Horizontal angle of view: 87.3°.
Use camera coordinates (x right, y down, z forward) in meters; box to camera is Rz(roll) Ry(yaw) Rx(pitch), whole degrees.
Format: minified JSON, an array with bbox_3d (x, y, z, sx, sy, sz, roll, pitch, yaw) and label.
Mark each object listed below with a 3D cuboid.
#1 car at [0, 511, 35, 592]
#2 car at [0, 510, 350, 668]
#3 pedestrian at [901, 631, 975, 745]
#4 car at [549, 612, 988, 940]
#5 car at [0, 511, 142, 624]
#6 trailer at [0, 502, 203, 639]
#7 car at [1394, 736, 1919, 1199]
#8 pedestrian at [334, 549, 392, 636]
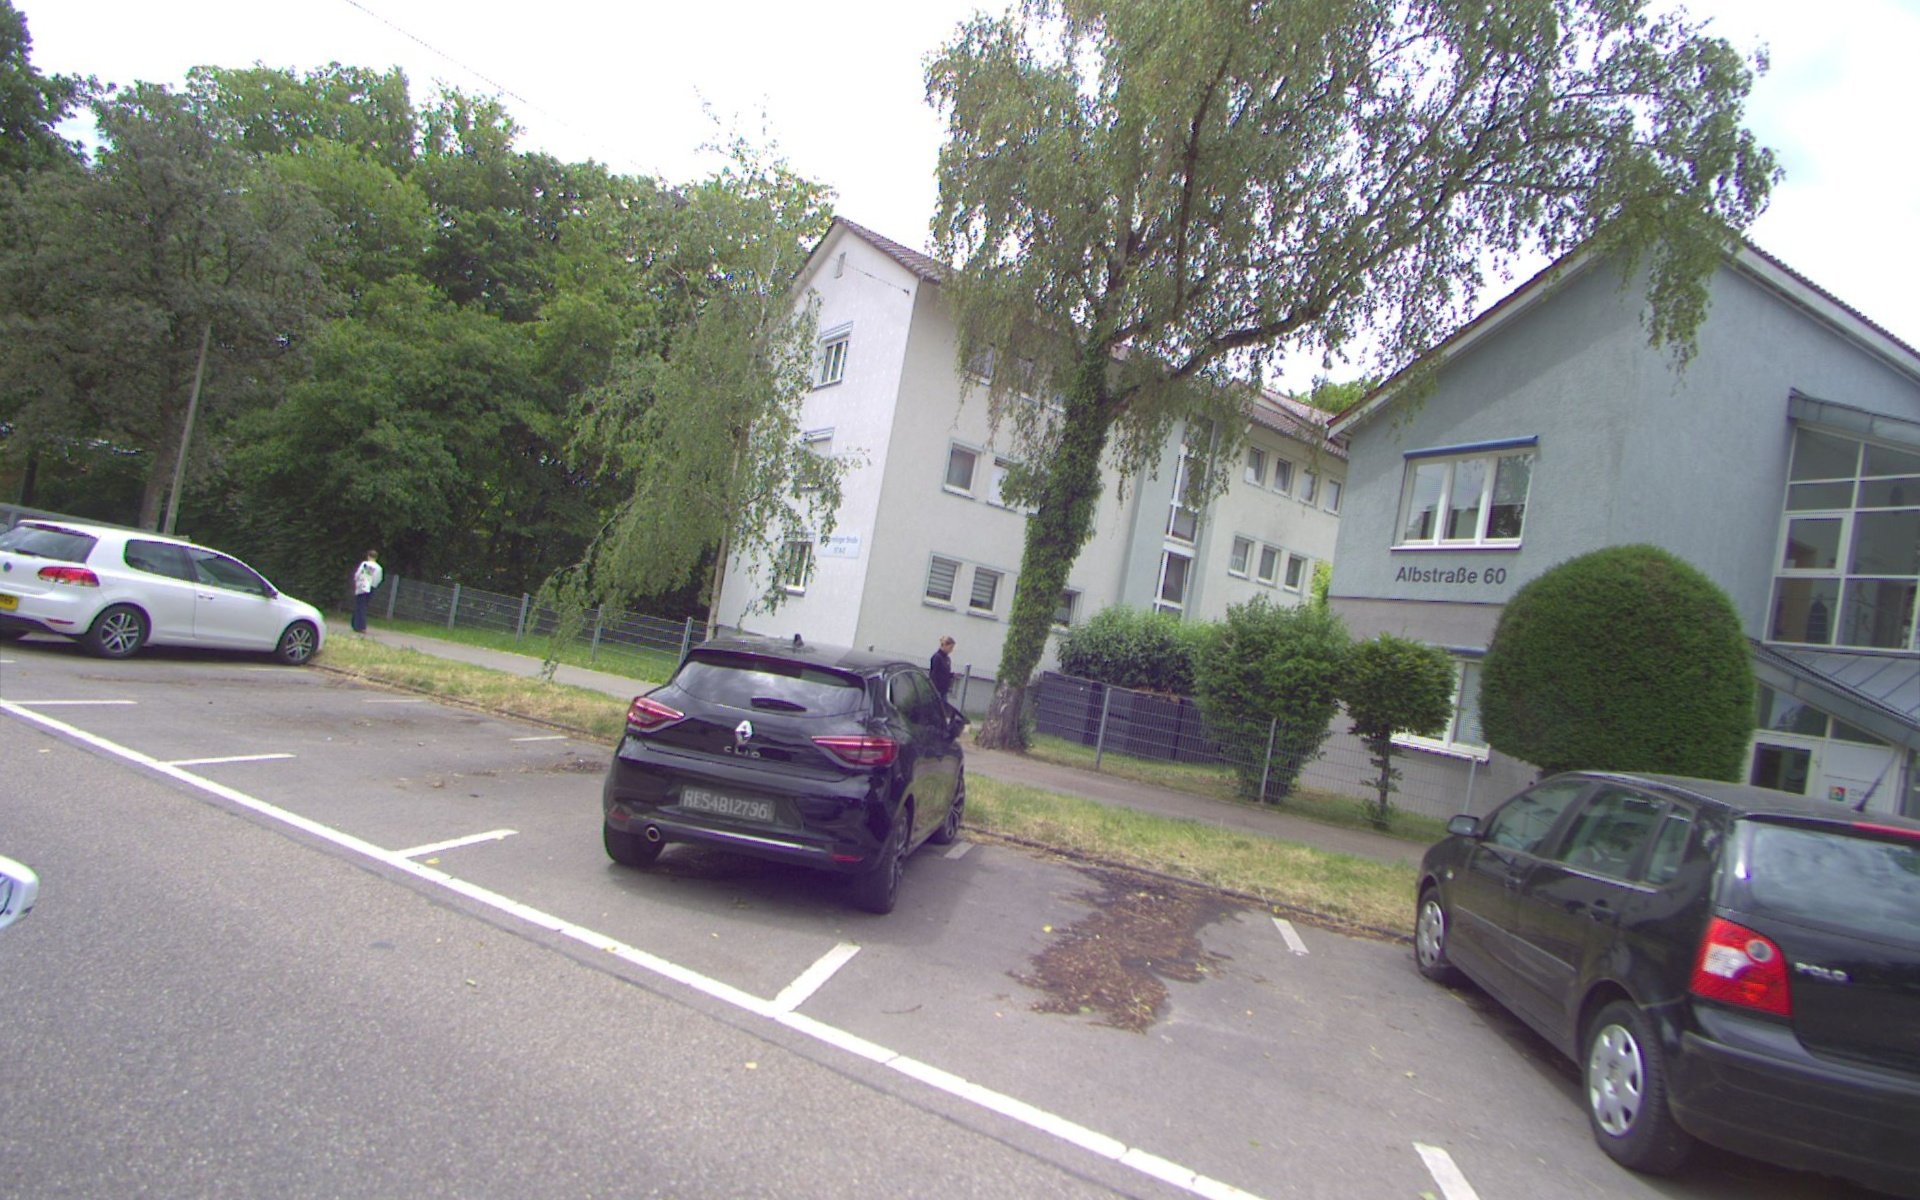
[{"bbox_3d":[-19.367,-1.200,17.798,1.762,1.479,4.010,8,-4,12],"label":"car"},{"bbox_3d":[-10.189,-0.049,12.888,1.757,1.479,4.009,8,-4,9],"label":"car"},{"bbox_3d":[-0.313,1.283,14.741,0.763,1.521,0.695,8,-2,11],"label":"pedestrian"},{"bbox_3d":[-0.940,1.048,7.017,1.683,1.449,3.865,6,-4,9],"label":"car"},{"bbox_3d":[-14.684,-0.649,14.664,1.816,1.479,4.009,8,-4,6],"label":"car"},{"bbox_3d":[-12.467,-0.478,13.022,1.627,1.569,4.007,8,-3,13],"label":"trailer"},{"bbox_3d":[3.485,1.581,4.794,1.683,1.479,3.522,8,-4,11],"label":"car"},{"bbox_3d":[-12.240,-0.157,20.621,0.689,1.662,0.769,10,-2,-40],"label":"pedestrian"}]
